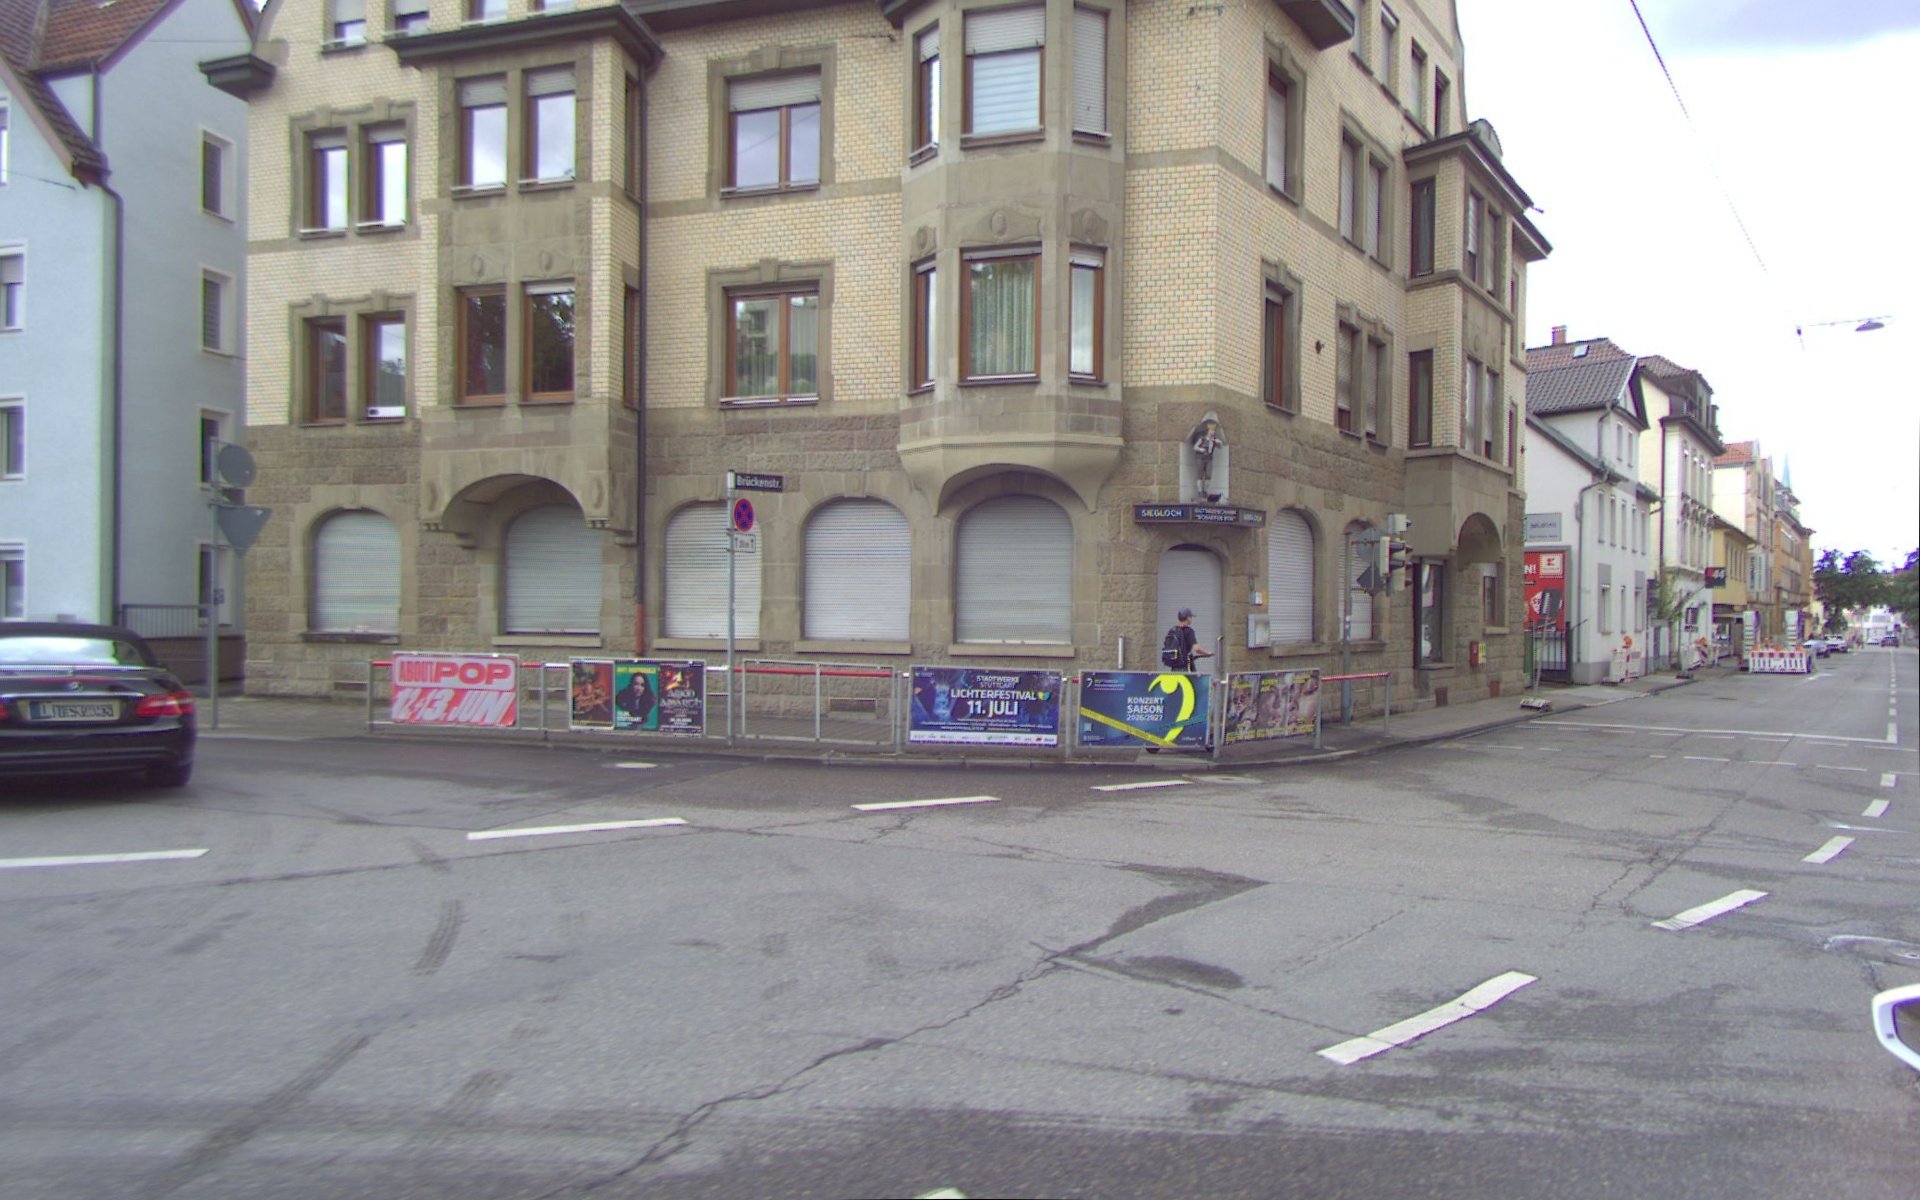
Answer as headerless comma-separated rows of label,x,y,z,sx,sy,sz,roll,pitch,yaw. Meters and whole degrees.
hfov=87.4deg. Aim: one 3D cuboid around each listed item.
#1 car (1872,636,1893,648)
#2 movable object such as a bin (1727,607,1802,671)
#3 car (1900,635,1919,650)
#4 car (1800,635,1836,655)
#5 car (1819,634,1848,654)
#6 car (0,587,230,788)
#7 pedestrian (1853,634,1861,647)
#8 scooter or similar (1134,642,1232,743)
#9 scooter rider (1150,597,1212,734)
car,138.015,6.282,150.217,3.971,1.639,1.975,3,-2,-43
movable object such as a bin,38.438,1.849,47.976,2.509,2.862,4.514,-1,-2,42
car,135.334,6.095,143.144,1.973,2.040,3.976,0,-2,44
car,66.014,3.459,77.262,1.972,1.461,3.978,-1,-2,42
car,82.729,4.120,95.147,1.971,1.764,3.979,2,0,42
car,-8.214,0.637,8.909,4.332,1.428,1.760,0,-2,40
pedestrian,109.007,4.876,122.069,0.485,1.560,0.621,2,-2,-30
scooter or similar,2.891,1.187,13.028,1.207,1.258,0.378,2,0,-19
scooter rider,2.862,0.834,13.006,0.568,1.728,0.487,1,1,-20
